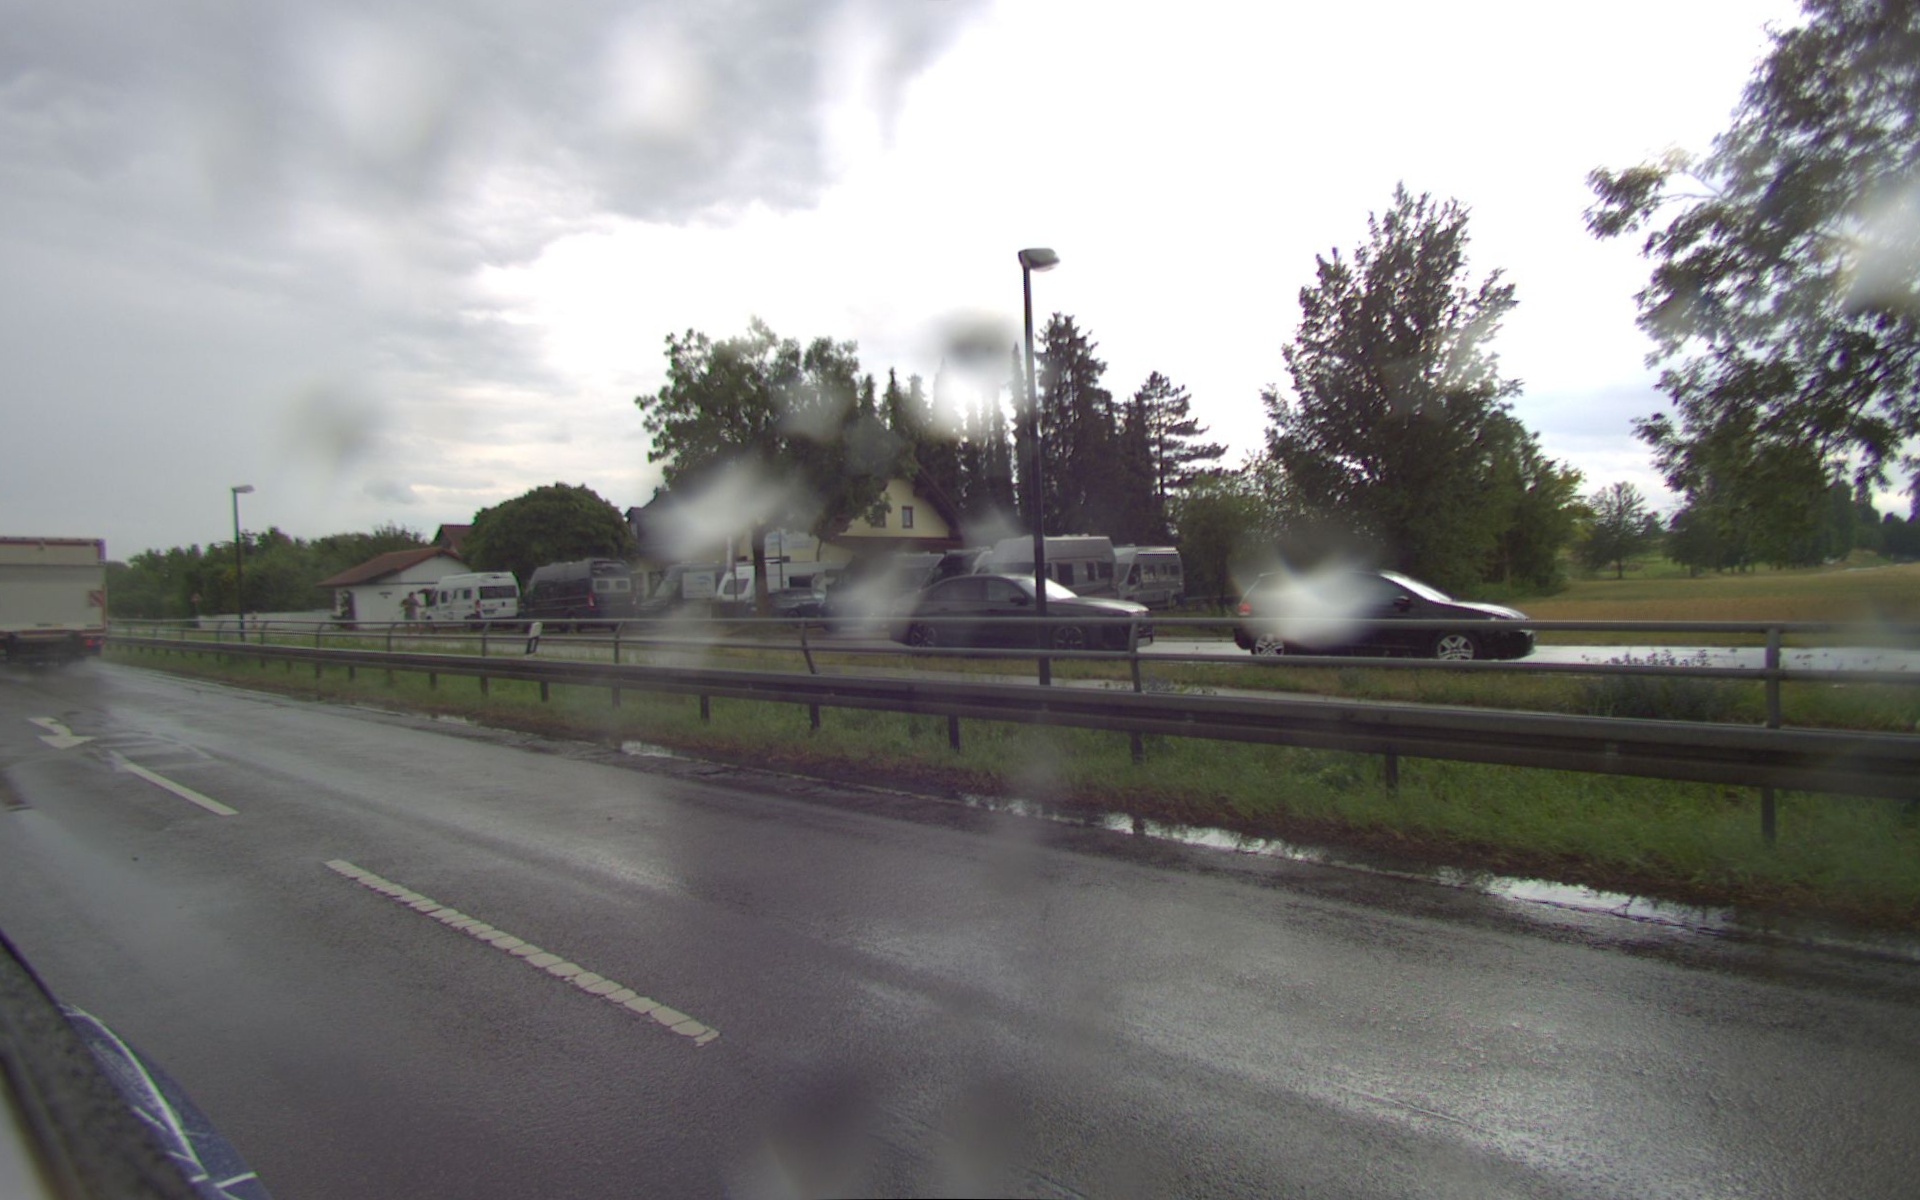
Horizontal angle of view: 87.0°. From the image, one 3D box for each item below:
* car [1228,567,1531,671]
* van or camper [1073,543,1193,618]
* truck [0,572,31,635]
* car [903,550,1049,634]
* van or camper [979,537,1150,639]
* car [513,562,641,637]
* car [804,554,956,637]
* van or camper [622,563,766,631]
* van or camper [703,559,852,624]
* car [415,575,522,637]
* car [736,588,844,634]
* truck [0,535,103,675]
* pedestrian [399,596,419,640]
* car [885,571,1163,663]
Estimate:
[{"bbox_3d":[6.043,0.285,14.814,3.891,1.341,1.271,-2,-1,37],"label":"car"},{"bbox_3d":[6.680,-0.778,38.540,1.997,2.609,5.750,-2,1,38],"label":"van or camper"},{"bbox_3d":[-81.446,0.377,85.527,7.778,5.071,3.216,-1,1,41],"label":"truck"},{"bbox_3d":[0.607,-0.305,32.576,1.997,2.477,5.044,-2,1,38],"label":"car"},{"bbox_3d":[3.196,-0.395,29.750,2.079,2.697,5.817,-2,1,39],"label":"van or camper"},{"bbox_3d":[-15.406,-0.007,40.549,5.570,2.783,2.358,-1,1,41],"label":"car"},{"bbox_3d":[-2.540,-0.200,33.535,1.997,2.520,5.133,-2,1,38],"label":"car"},{"bbox_3d":[-11.950,-0.200,45.892,2.432,2.822,5.993,-2,1,39],"label":"van or camper"},{"bbox_3d":[-7.885,-0.421,44.397,2.559,2.611,6.162,-2,1,39],"label":"van or camper"},{"bbox_3d":[-22.559,0.287,46.313,6.017,2.600,2.214,-1,1,41],"label":"car"},{"bbox_3d":[-6.285,0.398,37.712,1.539,1.507,3.844,-1,1,41],"label":"car"},{"bbox_3d":[-26.838,0.217,28.766,9.553,3.478,2.549,-2,-1,42],"label":"truck"},{"bbox_3d":[-22.072,0.719,40.527,0.509,1.723,0.651,-2,1,-41],"label":"pedestrian"},{"bbox_3d":[1.048,0.333,18.610,5.112,1.502,1.501,-2,-1,37],"label":"car"}]
